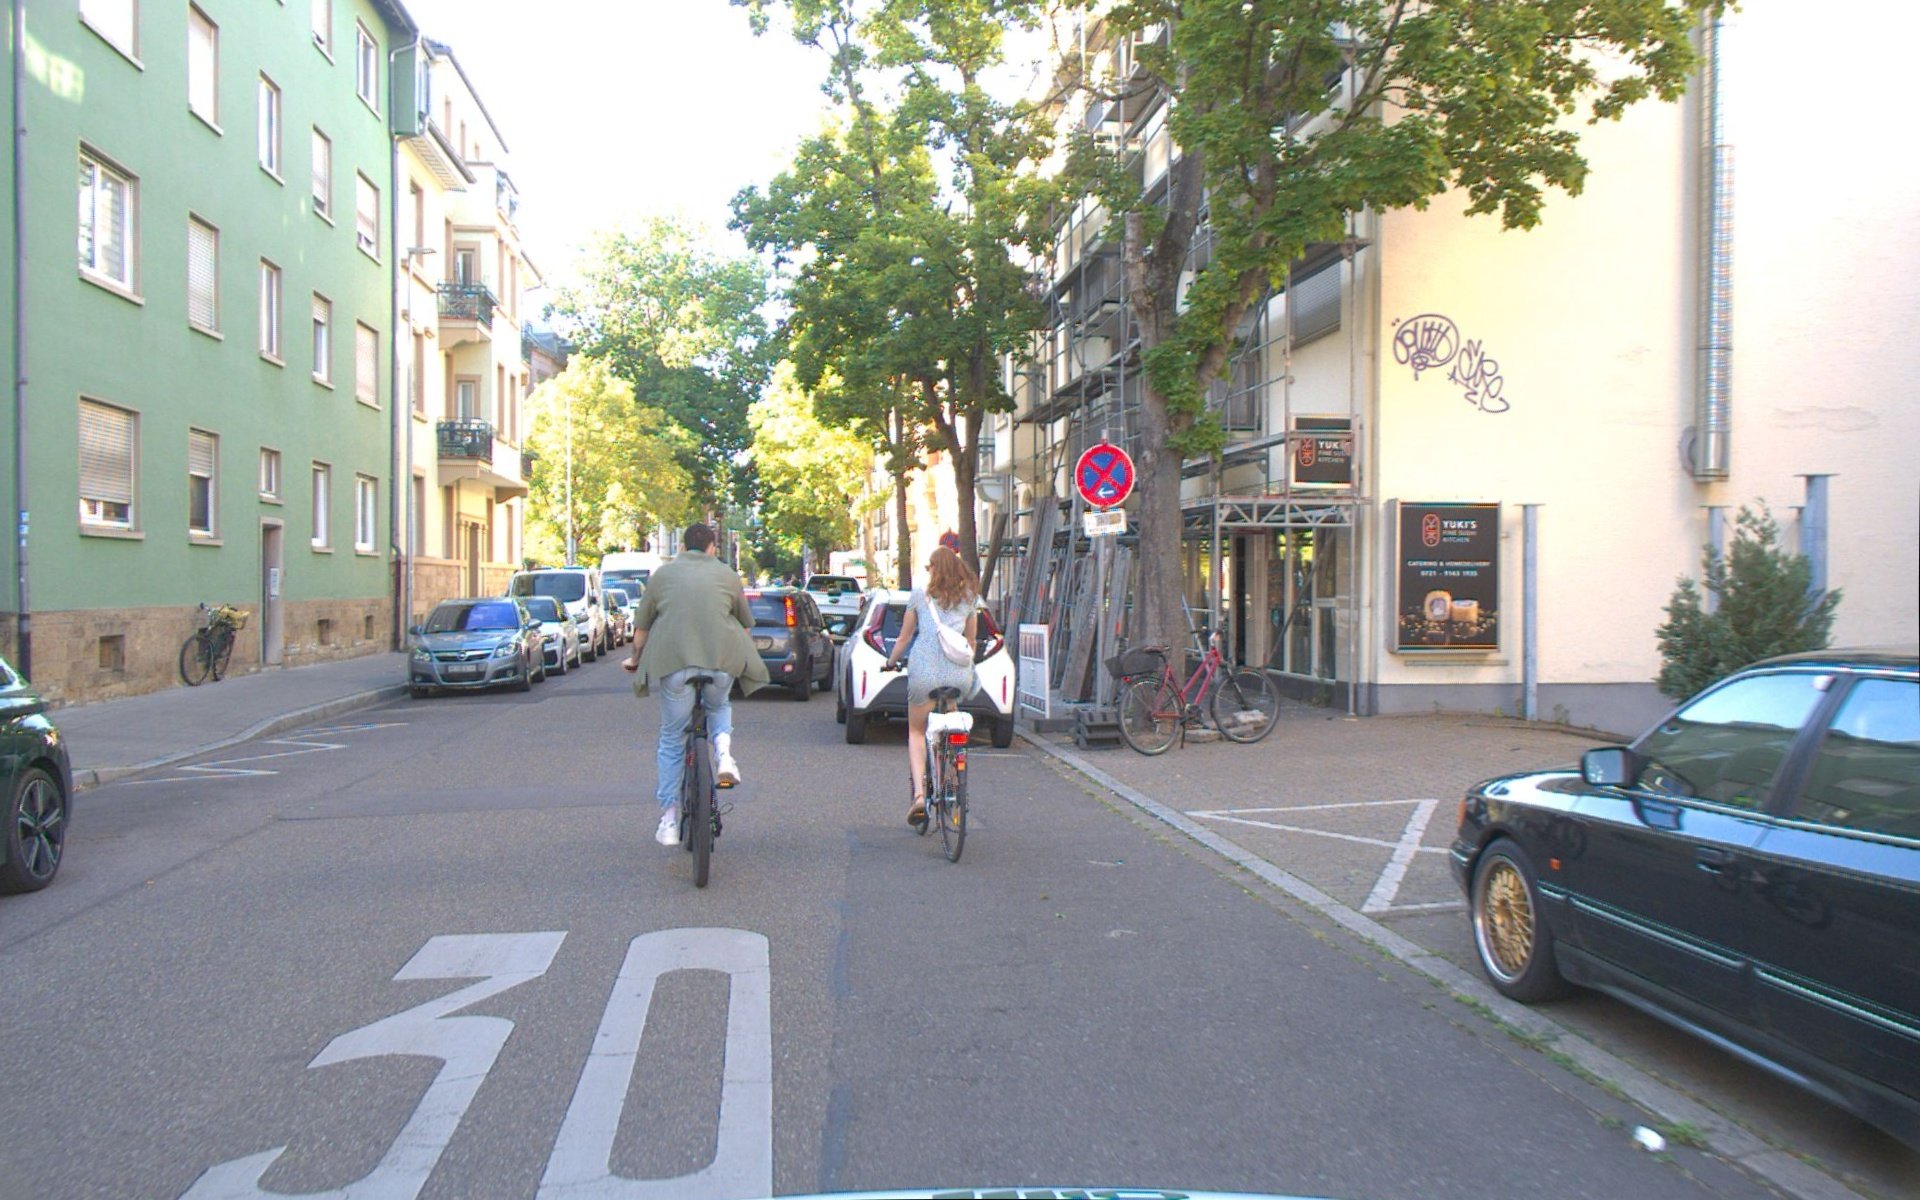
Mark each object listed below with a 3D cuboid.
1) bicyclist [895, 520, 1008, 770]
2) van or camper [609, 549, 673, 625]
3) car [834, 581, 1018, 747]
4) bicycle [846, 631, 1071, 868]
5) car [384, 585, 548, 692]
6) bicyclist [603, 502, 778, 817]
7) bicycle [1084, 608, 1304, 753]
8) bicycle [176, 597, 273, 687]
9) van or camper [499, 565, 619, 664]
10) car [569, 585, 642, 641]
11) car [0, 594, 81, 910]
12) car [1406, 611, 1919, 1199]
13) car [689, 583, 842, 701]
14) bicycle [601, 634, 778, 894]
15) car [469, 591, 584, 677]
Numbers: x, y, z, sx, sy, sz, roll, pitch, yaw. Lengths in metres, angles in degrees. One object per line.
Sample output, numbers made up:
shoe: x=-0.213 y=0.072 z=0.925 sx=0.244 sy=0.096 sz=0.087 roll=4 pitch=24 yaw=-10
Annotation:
bicyclist: x=-0.067 y=0.281 z=9.798 sx=0.610 sy=1.405 sz=0.867 roll=-1 pitch=-4 yaw=-3
van or camper: x=-11.384 y=-0.472 z=59.250 sx=1.956 sy=2.597 sz=5.014 roll=0 pitch=1 yaw=-8
car: x=-0.456 y=0.611 z=17.713 sx=1.643 sy=1.572 sz=3.399 roll=2 pitch=0 yaw=-6
bicycle: x=-0.075 y=0.818 z=9.823 sx=0.824 sy=1.169 sz=2.225 roll=3 pitch=0 yaw=-13
car: x=-7.604 y=0.535 z=25.827 sx=1.943 sy=1.481 sz=4.104 roll=-1 pitch=1 yaw=-10
bicyclist: x=-1.416 y=0.316 z=8.838 sx=0.865 sy=1.589 sz=0.867 roll=-1 pitch=-3 yaw=-6
bicycle: x=2.214 y=0.729 z=15.625 sx=1.955 sy=1.185 sz=0.721 roll=-3 pitch=2 yaw=-25
bicycle: x=-10.644 y=0.583 z=24.007 sx=0.540 sy=1.198 sz=2.276 roll=3 pitch=0 yaw=-6
van or camper: x=-8.919 y=0.270 z=37.156 sx=1.955 sy=2.049 sz=4.905 roll=-1 pitch=1 yaw=-6
car: x=-10.181 y=0.352 z=47.683 sx=1.678 sy=1.531 sz=3.994 roll=0 pitch=1 yaw=-7
car: x=-5.359 y=0.771 z=6.797 sx=1.720 sy=1.523 sz=4.128 roll=-2 pitch=1 yaw=-8
car: x=3.056 y=0.772 z=5.003 sx=1.676 sy=1.412 sz=4.562 roll=0 pitch=0 yaw=-8
car: x=-2.699 y=0.536 z=23.612 sx=1.524 sy=1.559 sz=3.488 roll=0 pitch=1 yaw=5
bicycle: x=-1.420 y=0.803 z=9.015 sx=0.823 sy=1.169 sz=2.229 roll=-1 pitch=0 yaw=-7
car: x=-8.080 y=0.584 z=31.073 sx=1.655 sy=1.479 sz=3.703 roll=-1 pitch=1 yaw=-8
